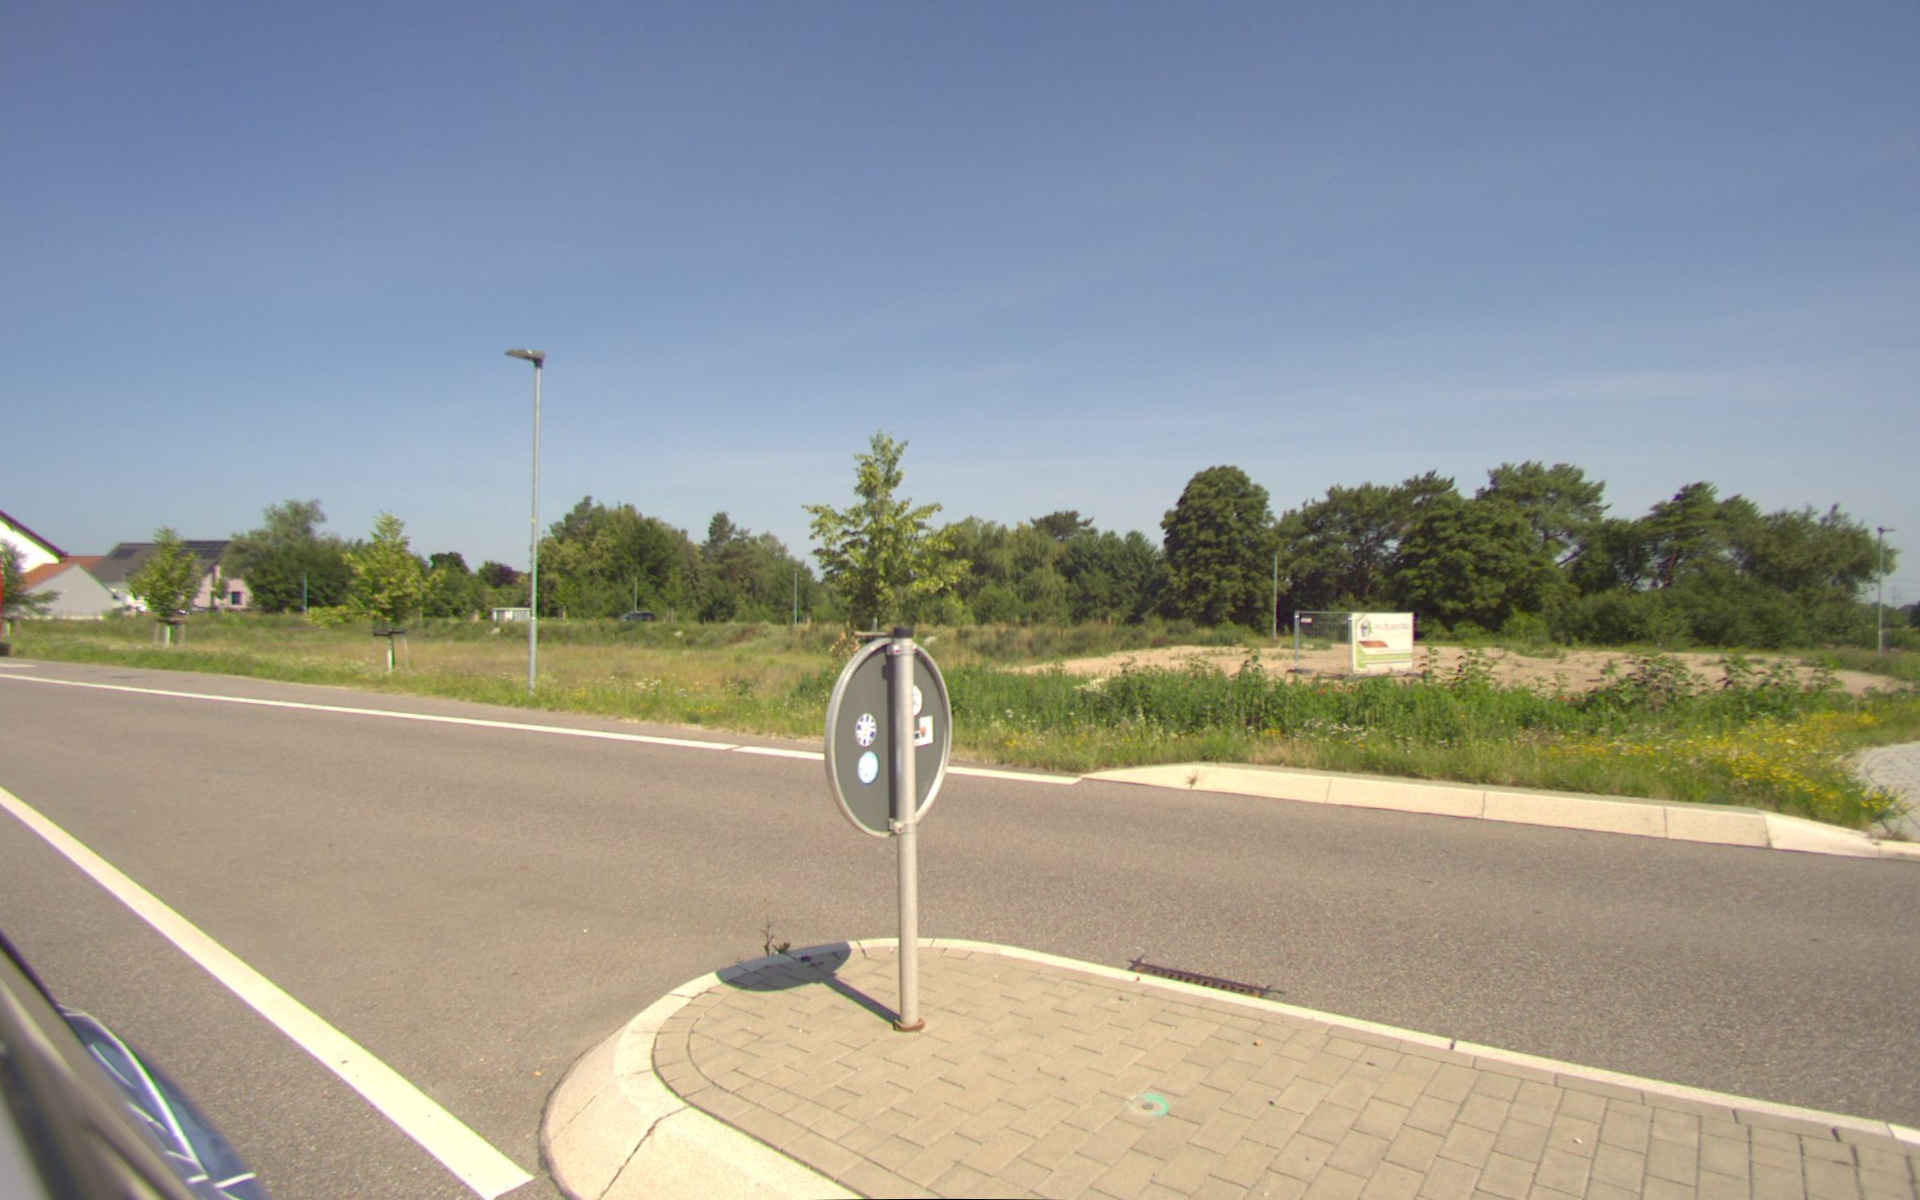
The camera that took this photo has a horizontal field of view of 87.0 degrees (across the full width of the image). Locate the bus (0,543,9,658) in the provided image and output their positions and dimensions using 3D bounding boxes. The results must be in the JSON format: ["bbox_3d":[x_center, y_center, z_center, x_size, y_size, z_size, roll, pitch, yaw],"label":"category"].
[{"bbox_3d":[-33.394,0.018,31.252,12.189,3.312,2.773,-1,-3,32],"label":"bus"}]
